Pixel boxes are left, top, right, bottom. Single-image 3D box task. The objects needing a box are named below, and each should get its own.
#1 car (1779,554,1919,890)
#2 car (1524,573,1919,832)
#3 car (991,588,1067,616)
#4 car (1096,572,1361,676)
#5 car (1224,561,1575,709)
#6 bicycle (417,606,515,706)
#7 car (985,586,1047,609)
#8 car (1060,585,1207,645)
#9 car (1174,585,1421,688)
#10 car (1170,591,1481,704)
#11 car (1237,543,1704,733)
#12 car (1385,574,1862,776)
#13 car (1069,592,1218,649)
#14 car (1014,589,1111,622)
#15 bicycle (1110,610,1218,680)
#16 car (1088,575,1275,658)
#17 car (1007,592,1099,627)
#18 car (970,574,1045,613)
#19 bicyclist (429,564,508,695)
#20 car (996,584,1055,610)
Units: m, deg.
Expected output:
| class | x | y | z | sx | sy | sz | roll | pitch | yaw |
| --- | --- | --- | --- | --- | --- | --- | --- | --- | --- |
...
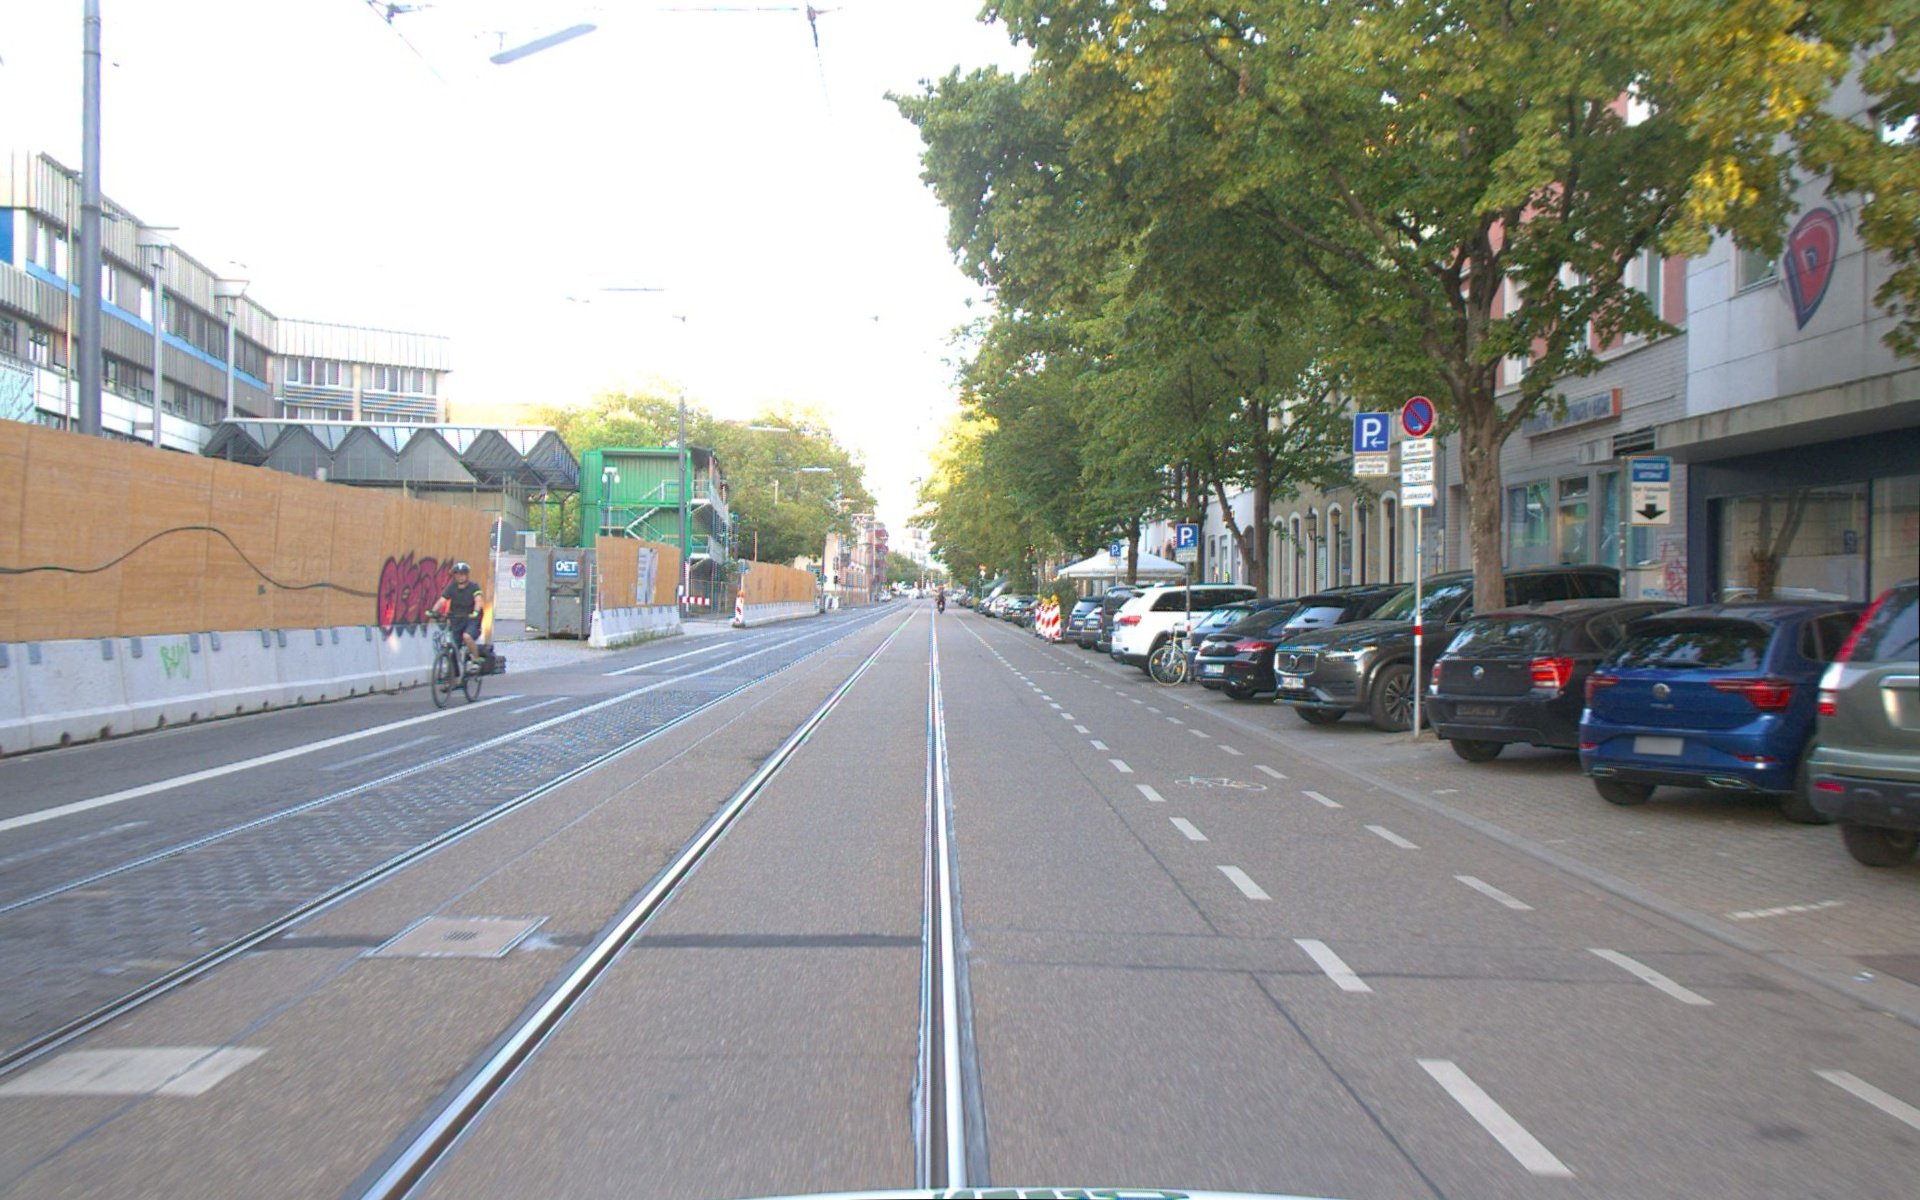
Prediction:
| class | x | y | z | sx | sy | sz | roll | pitch | yaw |
| --- | --- | --- | --- | --- | --- | --- | --- | --- | --- |
| car | 6.657 | 0.536 | 9.441 | 4.122 | 1.693 | 1.819 | -3 | 1 | -36 |
| car | 6.199 | 0.632 | 12.243 | 3.844 | 1.528 | 1.794 | -3 | 1 | -32 |
| car | 4.104 | 0.117 | 98.456 | 4.175 | 1.576 | 2.014 | -1 | 0 | -12 |
| car | 4.993 | 0.424 | 31.123 | 4.557 | 1.717 | 2.006 | -2 | 0 | -4 |
| car | 5.889 | 0.426 | 22.236 | 4.149 | 1.677 | 1.965 | -3 | 1 | -20 |
| bicycle | -6.540 | 0.713 | 22.003 | 0.752 | 1.249 | 1.936 | 0 | 0 | -1 |
| car | 3.896 | -0.184 | 115.723 | 3.900 | 1.512 | 1.905 | -1 | -1 | -25 |
| car | 5.020 | 0.429 | 47.832 | 3.914 | 1.580 | 1.691 | -2 | 0 | -27 |
| car | 5.588 | 0.574 | 27.340 | 3.701 | 1.451 | 1.713 | -3 | 1 | -26 |
| car | 5.422 | 0.655 | 24.560 | 4.156 | 1.451 | 1.962 | -2 | 0 | -23 |
| car | 5.986 | 0.383 | 19.488 | 4.890 | 1.858 | 2.196 | -3 | 1 | -20 |
| car | 6.172 | 0.608 | 15.334 | 4.110 | 1.490 | 1.952 | -3 | 1 | -29 |
| car | 5.026 | 0.543 | 45.227 | 3.727 | 1.432 | 1.691 | -2 | 0 | -27 |
| car | 4.710 | 0.242 | 76.129 | 4.100 | 1.451 | 1.813 | 0 | 0 | -20 |
| bicycle | 3.591 | 0.782 | 29.094 | 1.805 | 1.122 | 0.496 | -3 | 1 | -15 |
| car | 5.333 | 0.374 | 39.792 | 4.103 | 1.838 | 1.988 | -2 | 0 | -30 |
| car | 4.550 | 0.453 | 81.030 | 4.054 | 1.496 | 1.813 | -3 | 1 | -19 |
| car | 3.474 | -0.437 | 120.441 | 5.016 | 2.689 | 2.011 | -2 | 0 | -18 |
| bicyclist | -6.526 | 0.382 | 21.993 | 0.752 | 1.694 | 1.018 | 0 | 0 | -1 |
| car | 4.434 | -0.176 | 111.893 | 3.870 | 1.648 | 1.920 | -1 | -1 | -1 |
